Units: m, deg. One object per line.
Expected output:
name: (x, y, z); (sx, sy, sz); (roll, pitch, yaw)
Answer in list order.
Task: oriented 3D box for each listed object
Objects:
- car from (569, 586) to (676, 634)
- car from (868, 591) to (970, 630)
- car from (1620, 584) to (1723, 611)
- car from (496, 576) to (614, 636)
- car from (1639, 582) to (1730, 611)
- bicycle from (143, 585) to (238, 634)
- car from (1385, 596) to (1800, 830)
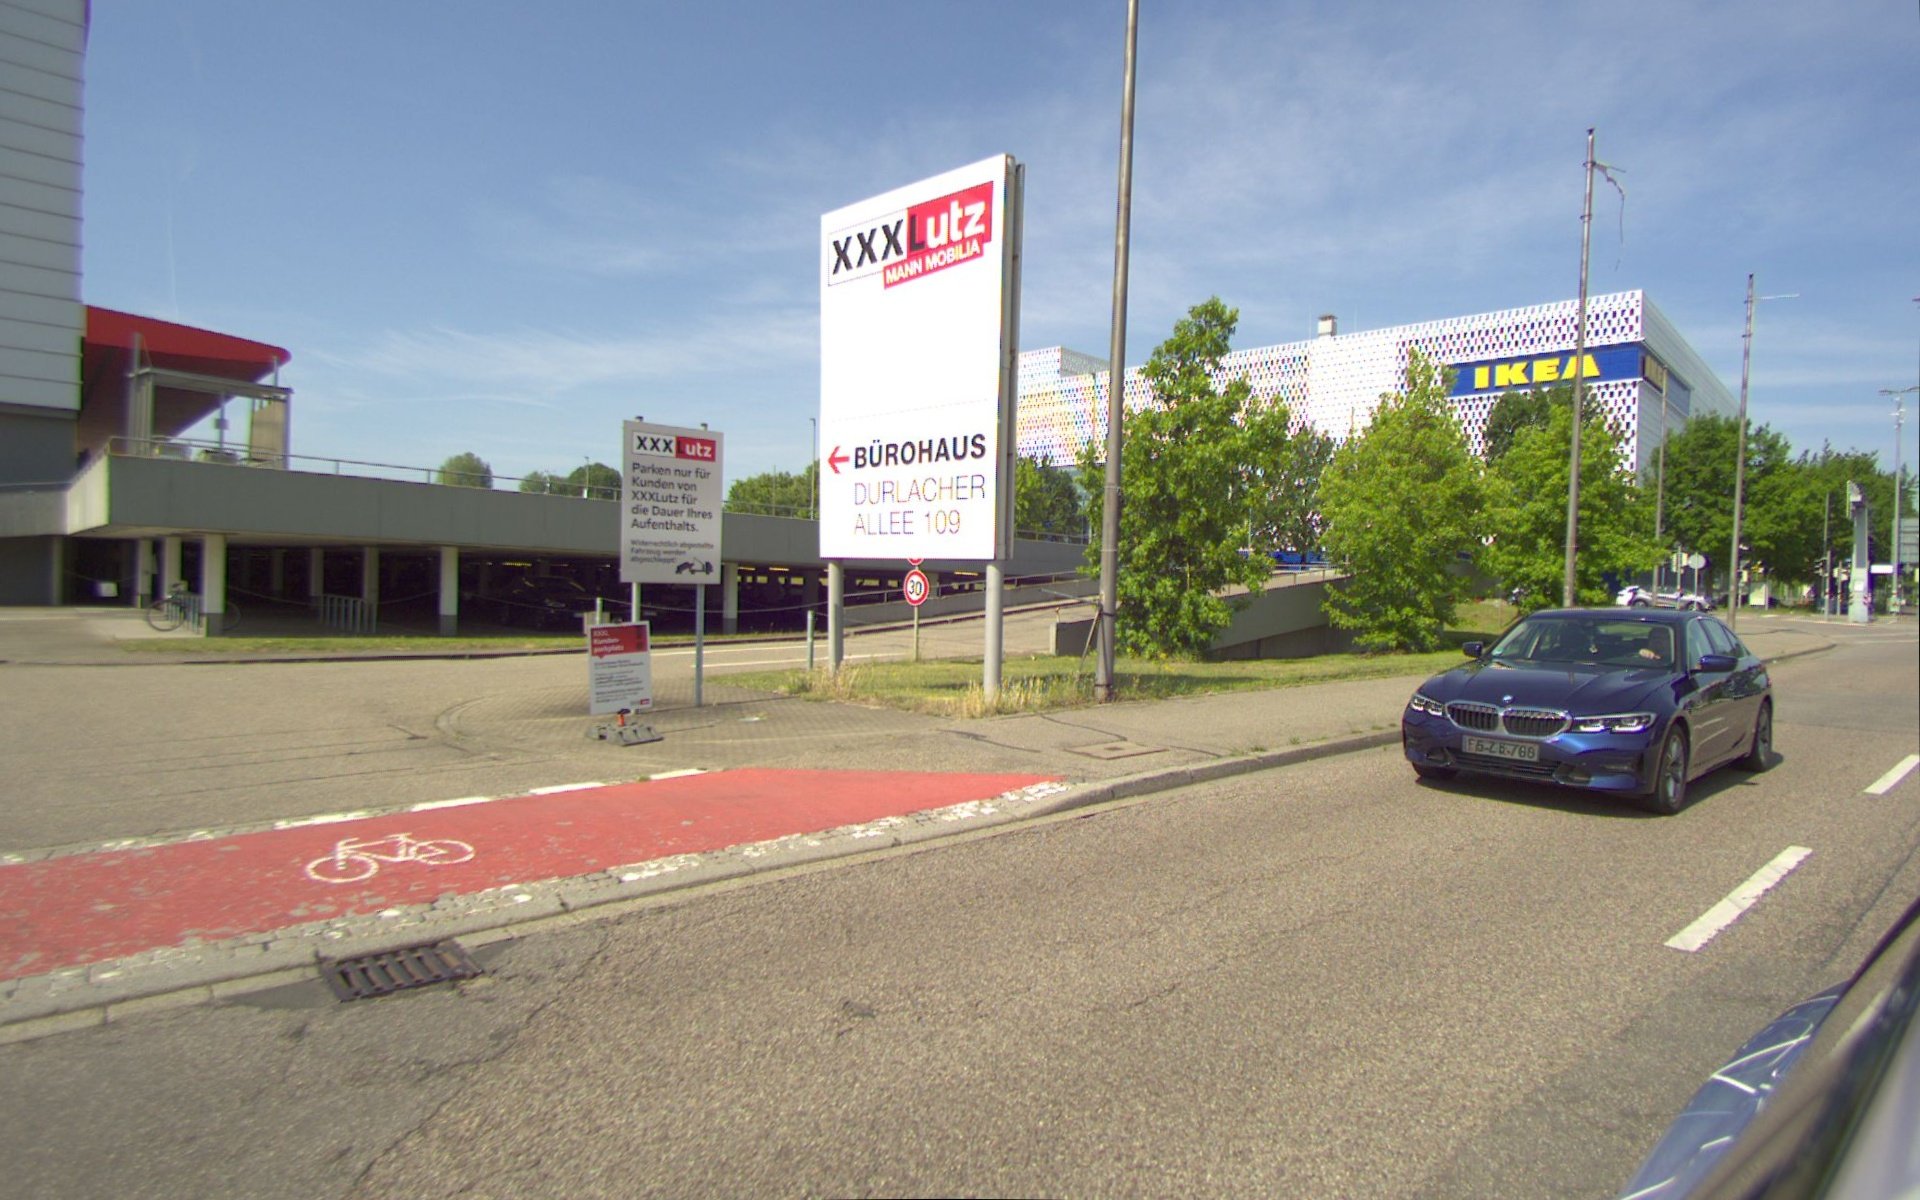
car: (-10.691, 0.289, 31.896); (1.661, 1.405, 3.873); (0, 0, -45)
car: (-1.720, 0.399, 41.503); (4.106, 1.542, 1.773); (0, 0, 41)
car: (42.367, -0.199, 60.335); (1.926, 1.443, 4.724); (-1, 3, -42)
car: (-11.900, 0.152, 29.613); (1.723, 1.647, 4.153); (0, 0, -45)
car: (41.018, -0.215, 57.378); (1.777, 1.578, 3.891); (0, 1, -41)
bicycle: (-17.530, 0.223, 23.086); (1.679, 1.073, 0.512); (1, 0, -42)
car: (5.534, 0.711, 8.591); (4.459, 1.447, 1.798); (-1, 1, -41)
